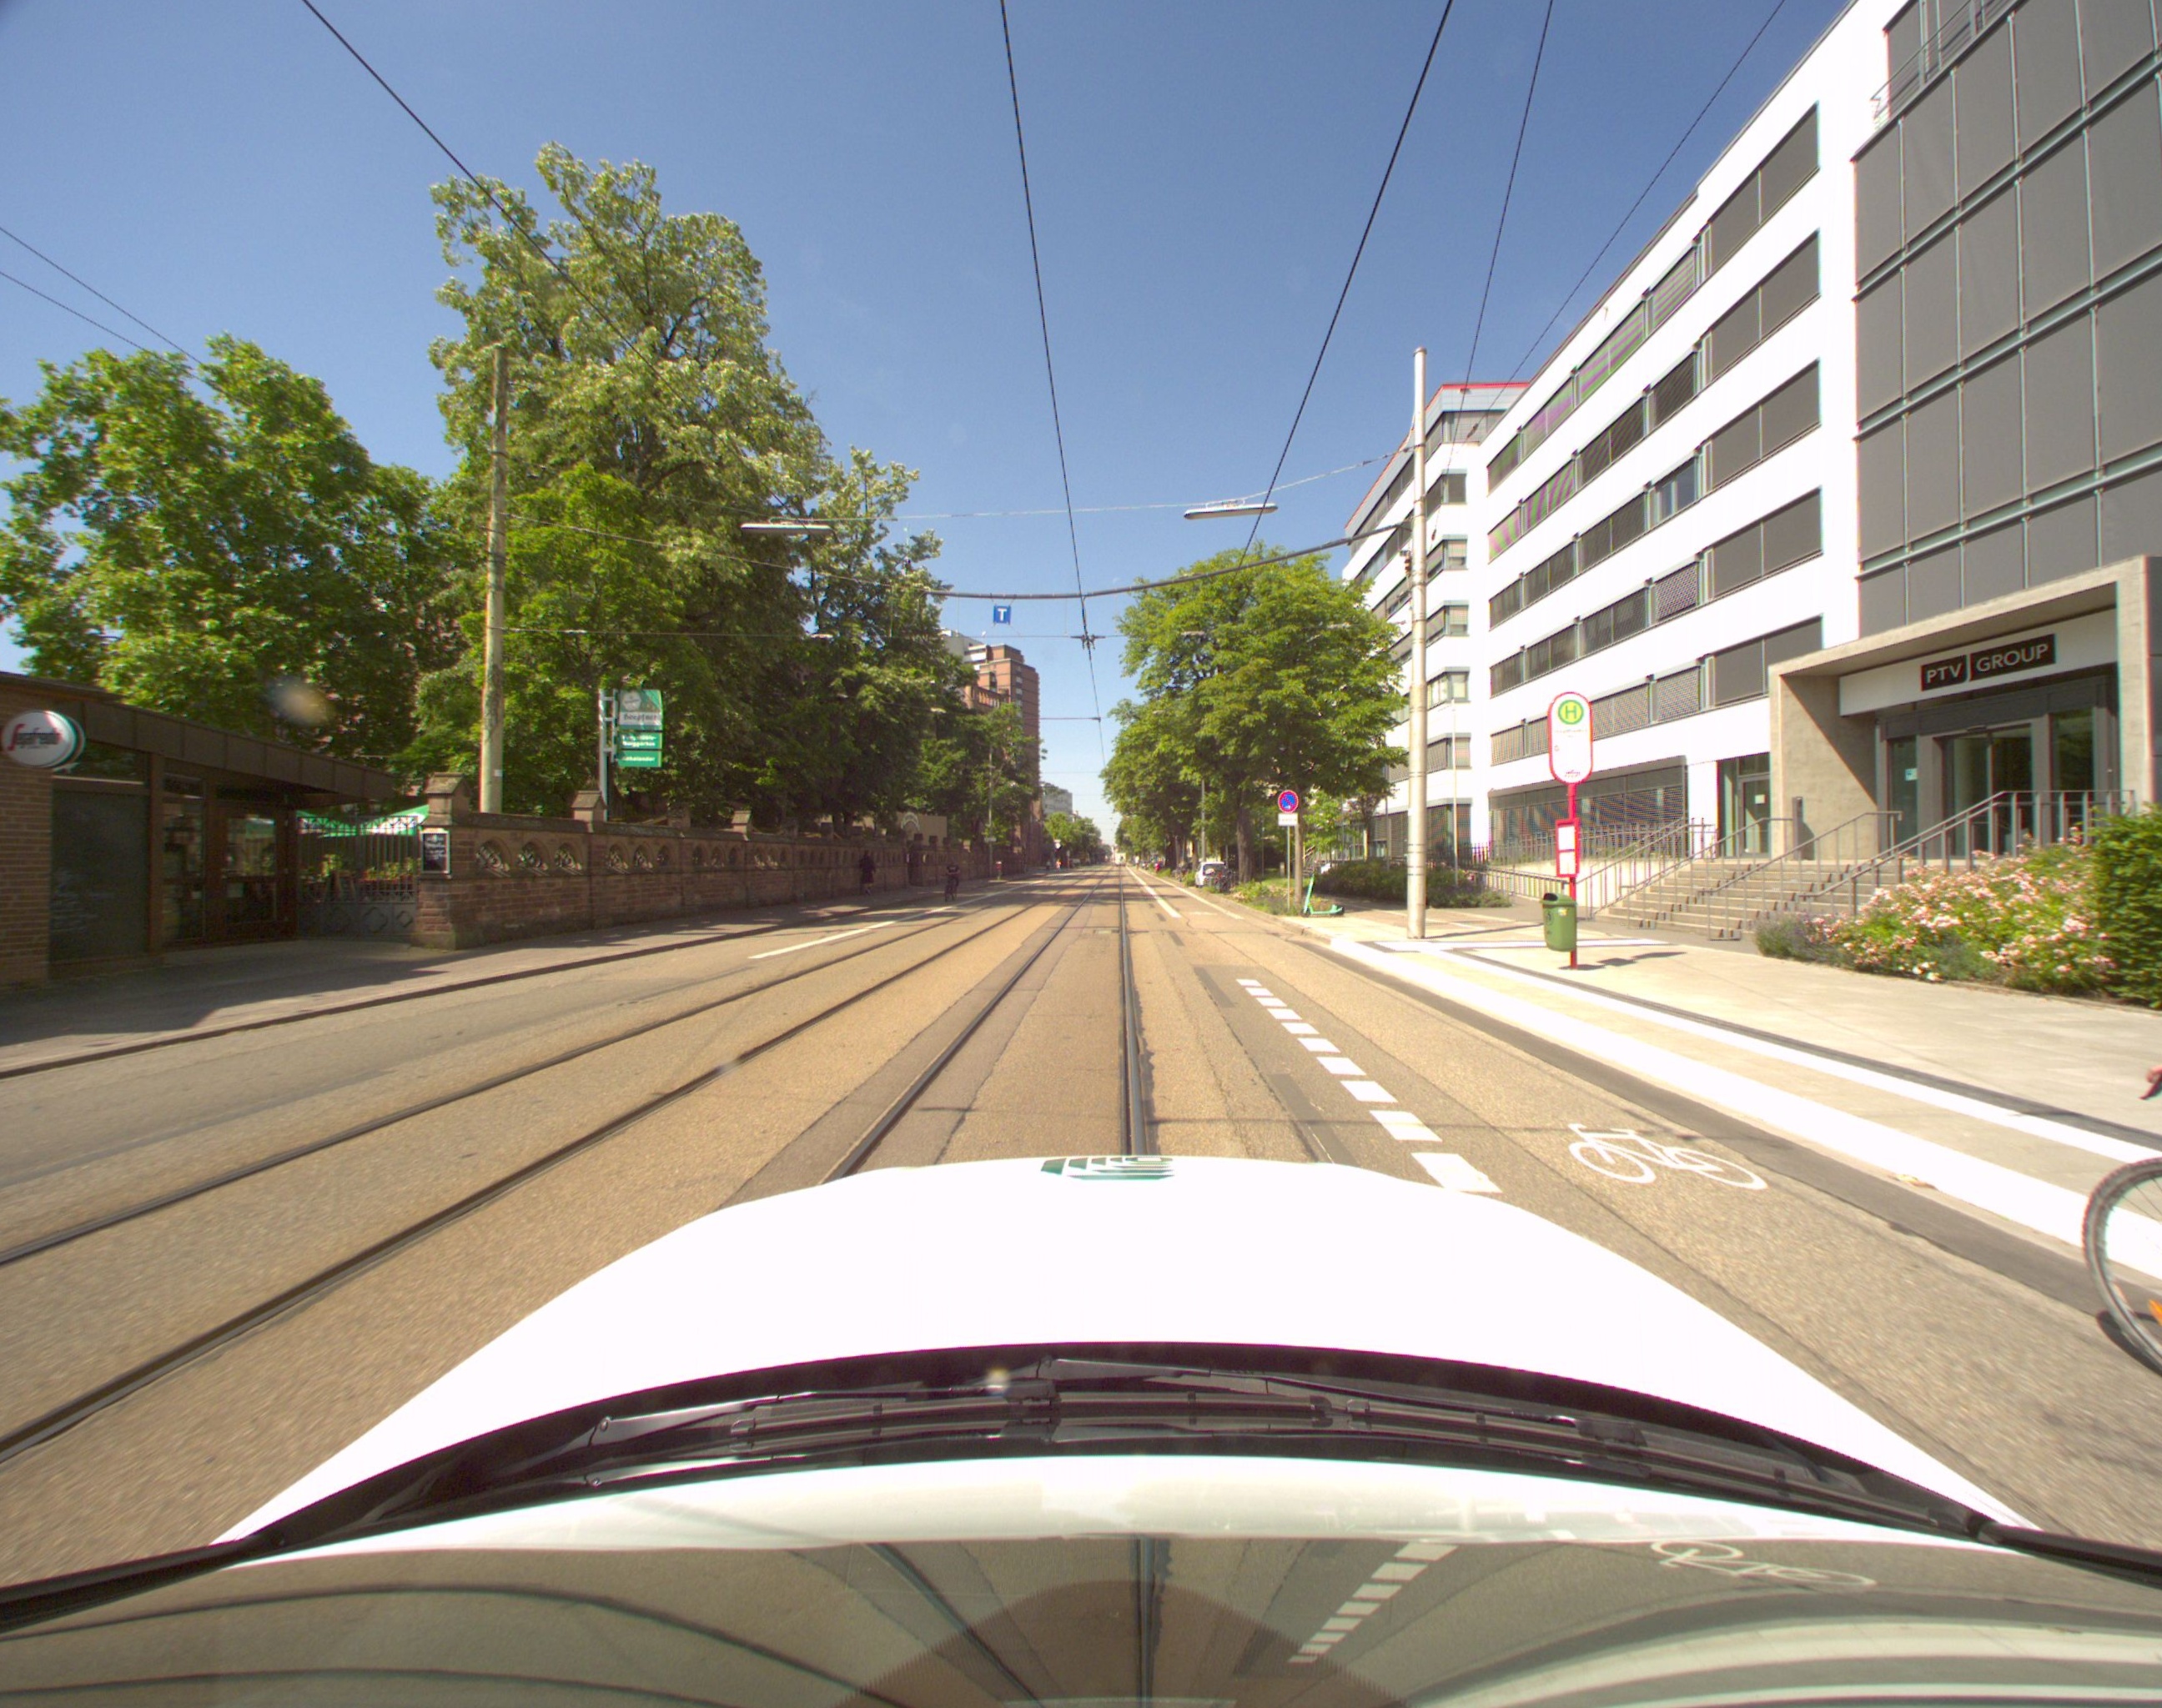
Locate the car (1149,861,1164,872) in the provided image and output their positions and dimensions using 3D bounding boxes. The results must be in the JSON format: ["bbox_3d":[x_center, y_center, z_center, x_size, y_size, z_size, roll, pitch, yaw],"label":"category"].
[{"bbox_3d":[9.803,1.663,106.270,1.624,1.355,3.902,-1,0,1],"label":"car"}]

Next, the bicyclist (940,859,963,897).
[{"bbox_3d":[-5.258,0.955,33.184,0.737,1.531,0.948,0,-1,3],"label":"bicyclist"}]

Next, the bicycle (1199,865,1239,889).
[{"bbox_3d":[7.020,1.178,41.473,1.897,1.169,0.819,-1,-1,1],"label":"bicycle"}]

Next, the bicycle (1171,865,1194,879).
[{"bbox_3d":[7.948,1.423,63.725,1.718,1.086,0.697,-1,-1,1],"label":"bicycle"}]

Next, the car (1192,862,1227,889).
[{"bbox_3d":[7.116,1.160,45.282,1.623,1.472,3.634,0,-1,4],"label":"car"}]

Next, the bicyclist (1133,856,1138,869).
[{"bbox_3d":[7.912,1.228,117.472,0.633,1.871,1.025,-1,-1,2],"label":"bicyclist"}]

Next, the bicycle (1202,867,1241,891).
[{"bbox_3d":[6.928,1.238,40.148,1.842,1.132,0.681,-1,-1,1],"label":"bicycle"}]

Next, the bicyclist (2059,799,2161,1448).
[{"bbox_3d":[3.218,0.716,1.888,0.713,1.724,0.988,0,0,2],"label":"bicyclist"}]

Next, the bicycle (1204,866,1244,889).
[{"bbox_3d":[6.950,1.162,39.619,1.786,1.086,0.727,-1,-1,1],"label":"bicycle"}]

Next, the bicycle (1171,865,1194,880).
[{"bbox_3d":[7.838,1.430,63.069,1.718,1.086,0.629,-1,-1,1],"label":"bicycle"}]

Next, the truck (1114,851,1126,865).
[{"bbox_3d":[8.450,0.907,176.750,2.393,3.109,6.040,0,0,2],"label":"truck"}]

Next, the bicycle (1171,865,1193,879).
[{"bbox_3d":[8.066,1.425,64.961,1.718,1.086,0.589,-1,-1,1],"label":"bicycle"}]

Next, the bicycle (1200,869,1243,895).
[{"bbox_3d":[6.046,1.216,35.137,1.718,1.086,0.789,-1,-1,1],"label":"bicycle"}]

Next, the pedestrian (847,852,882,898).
[{"bbox_3d":[-8.961,0.857,33.773,0.972,1.816,1.185,3,-1,3],"label":"pedestrian"}]

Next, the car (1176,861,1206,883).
[{"bbox_3d":[7.718,1.215,57.464,1.624,1.483,4.273,0,0,1],"label":"car"}]

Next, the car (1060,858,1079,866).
[{"bbox_3d":[-2.813,1.933,197.162,4.010,1.750,1.982,0,-1,-28],"label":"car"}]

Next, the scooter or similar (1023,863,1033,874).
[{"bbox_3d":[-5.837,1.591,89.124,0.329,1.129,1.194,-1,-1,41],"label":"scooter or similar"}]

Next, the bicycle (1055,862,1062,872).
[{"bbox_3d":[-2.761,1.611,100.660,0.659,1.154,2.015,0,0,3],"label":"bicycle"}]

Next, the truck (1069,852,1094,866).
[{"bbox_3d":[0.210,1.346,226.020,2.787,3.859,10.056,-1,-1,24],"label":"truck"}]

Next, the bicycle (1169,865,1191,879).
[{"bbox_3d":[8.001,1.484,66.037,1.718,1.086,0.615,-1,-1,1],"label":"bicycle"}]

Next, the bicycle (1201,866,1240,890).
[{"bbox_3d":[6.986,1.193,40.826,1.865,1.141,0.686,-1,-1,1],"label":"bicycle"}]

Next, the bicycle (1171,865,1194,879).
[{"bbox_3d":[8.009,1.428,64.371,1.718,1.086,0.570,-1,-1,1],"label":"bicycle"}]

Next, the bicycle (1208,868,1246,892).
[{"bbox_3d":[6.945,1.228,38.731,1.718,1.086,0.640,-1,-1,1],"label":"bicycle"}]

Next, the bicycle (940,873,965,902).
[{"bbox_3d":[-5.242,1.358,33.293,0.589,1.105,2.056,0,0,3],"label":"bicycle"}]

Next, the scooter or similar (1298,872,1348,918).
[{"bbox_3d":[6.319,1.062,21.308,1.120,1.166,0.677,0,-1,5],"label":"scooter or similar"}]

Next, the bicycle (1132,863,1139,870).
[{"bbox_3d":[7.864,1.797,117.322,0.852,1.110,2.140,0,0,2],"label":"bicycle"}]

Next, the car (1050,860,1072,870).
[{"bbox_3d":[-4.071,2.222,164.384,4.016,1.811,1.869,0,-1,-35],"label":"car"}]

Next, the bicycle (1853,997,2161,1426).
[{"bbox_3d":[3.175,1.031,1.984,0.606,0.984,2.165,0,0,2],"label":"bicycle"}]

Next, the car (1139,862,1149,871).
[{"bbox_3d":[11.253,2.257,145.837,1.623,1.472,4.116,-1,0,3],"label":"car"}]

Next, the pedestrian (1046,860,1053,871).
[{"bbox_3d":[-4.434,1.633,115.690,0.882,1.512,1.472,0,-1,-6],"label":"pedestrian"}]

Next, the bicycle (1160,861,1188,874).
[{"bbox_3d":[9.977,1.413,87.245,3.013,1.332,1.043,0,-1,5],"label":"bicycle"}]

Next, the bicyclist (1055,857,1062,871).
[{"bbox_3d":[-2.752,1.268,100.609,0.722,1.698,1.147,0,-1,2],"label":"bicyclist"}]

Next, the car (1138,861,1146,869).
[{"bbox_3d":[12.884,2.308,171.431,1.623,1.472,4.116,-1,0,3],"label":"car"}]

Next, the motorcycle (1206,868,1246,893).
[{"bbox_3d":[6.636,1.210,37.337,1.718,1.086,0.659,-1,-1,1],"label":"motorcycle"}]

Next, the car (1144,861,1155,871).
[{"bbox_3d":[10.754,1.872,127.945,1.623,1.472,4.116,0,-1,3],"label":"car"}]
